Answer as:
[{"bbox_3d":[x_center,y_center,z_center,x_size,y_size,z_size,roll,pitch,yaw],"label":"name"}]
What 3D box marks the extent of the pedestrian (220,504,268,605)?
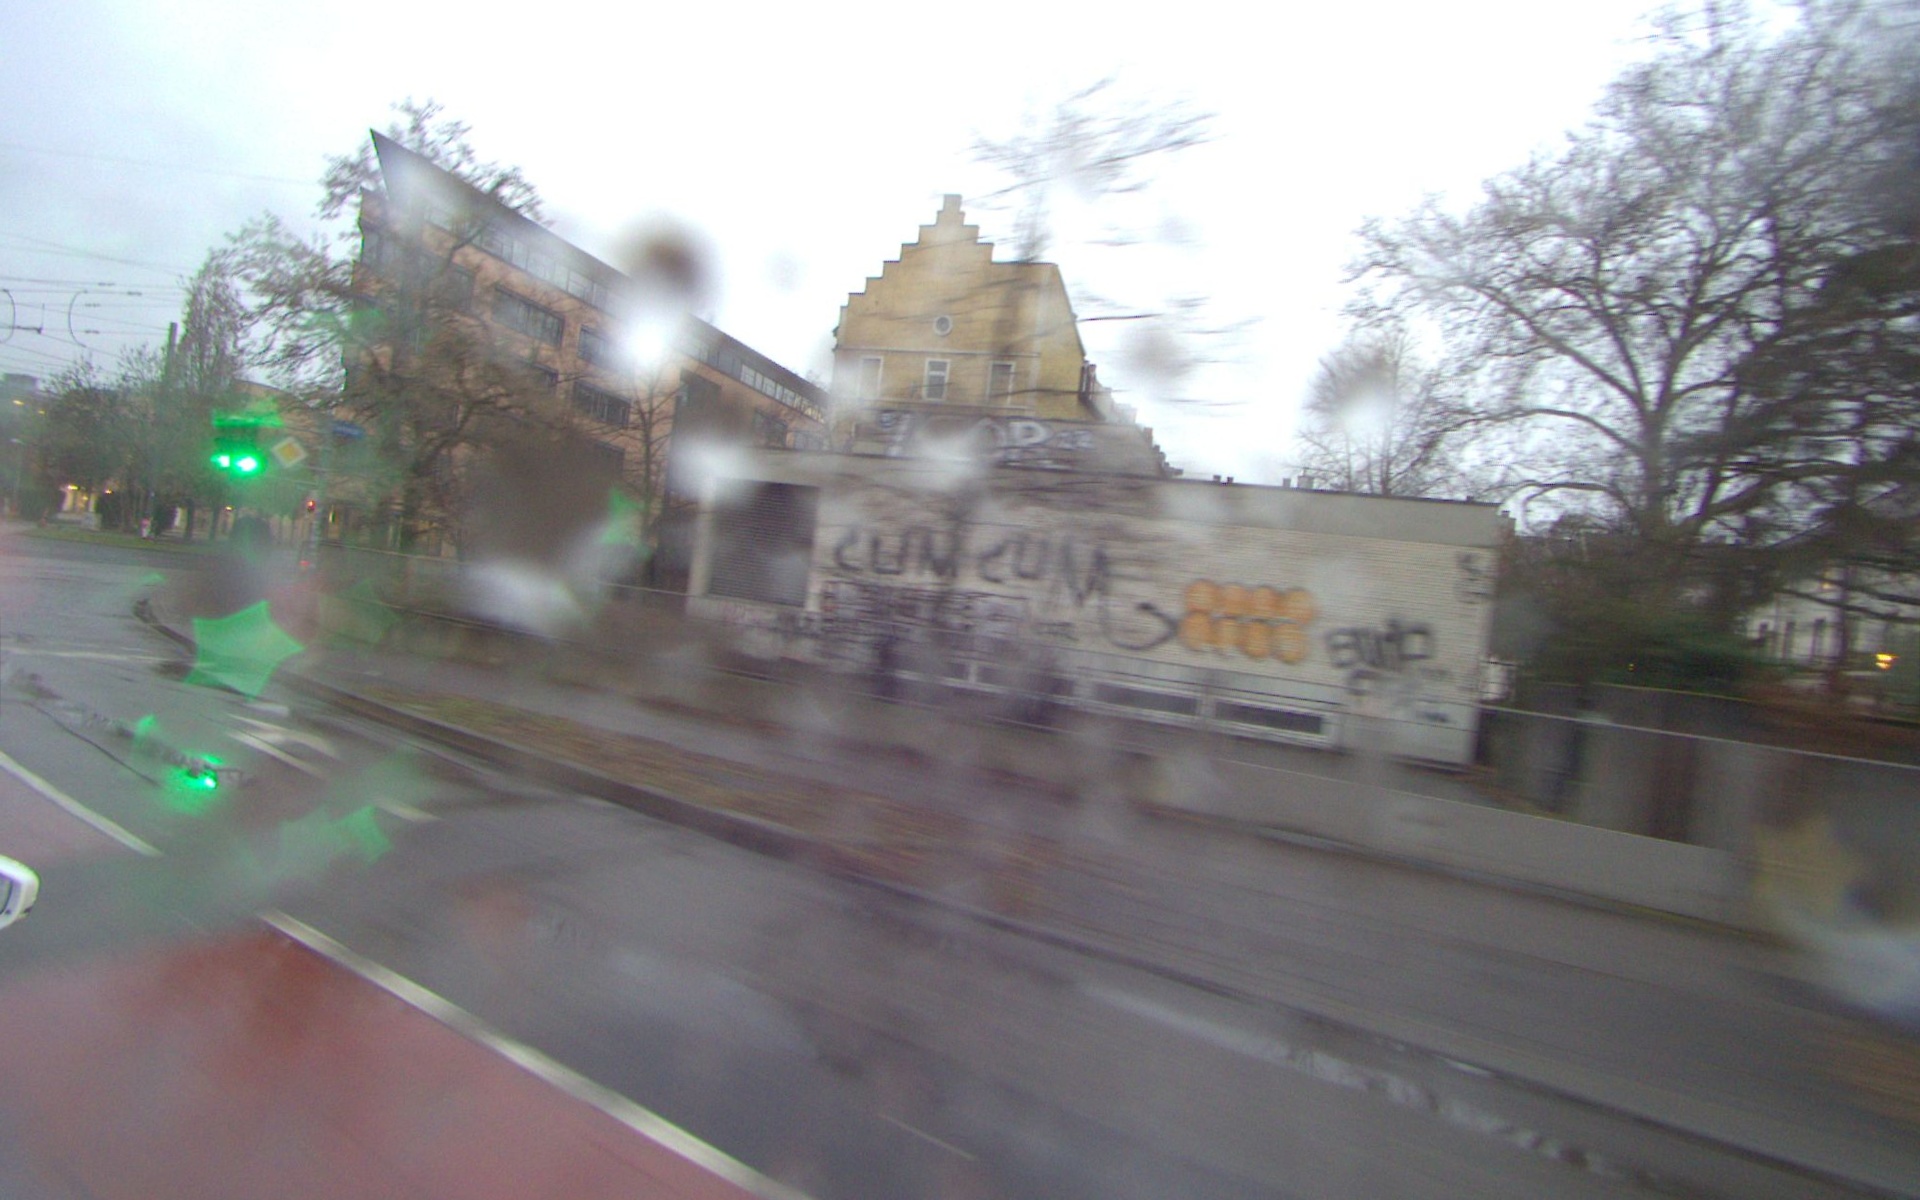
[{"bbox_3d":[-13.783,-0.878,19.354,0.570,1.863,0.674,3,4,-44],"label":"pedestrian"}]
